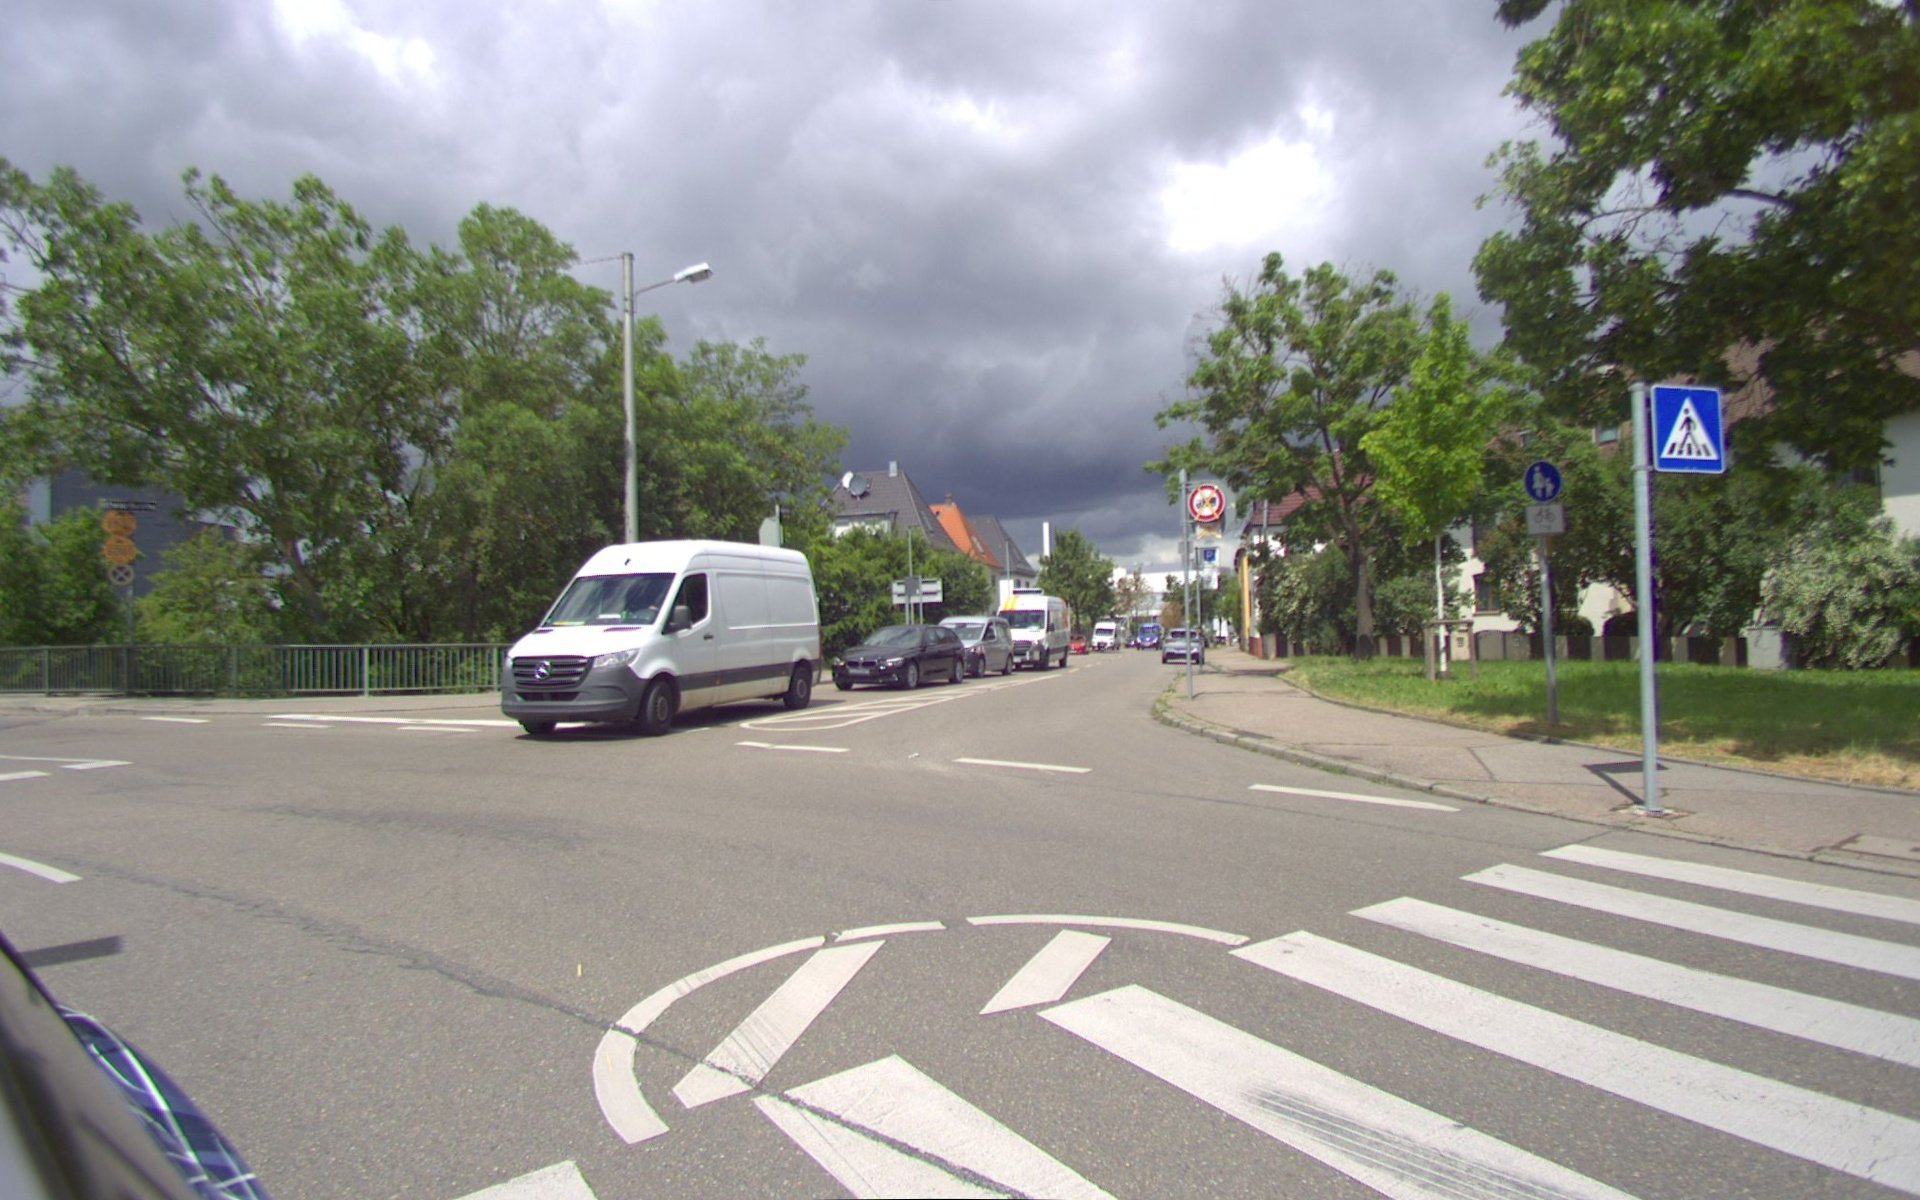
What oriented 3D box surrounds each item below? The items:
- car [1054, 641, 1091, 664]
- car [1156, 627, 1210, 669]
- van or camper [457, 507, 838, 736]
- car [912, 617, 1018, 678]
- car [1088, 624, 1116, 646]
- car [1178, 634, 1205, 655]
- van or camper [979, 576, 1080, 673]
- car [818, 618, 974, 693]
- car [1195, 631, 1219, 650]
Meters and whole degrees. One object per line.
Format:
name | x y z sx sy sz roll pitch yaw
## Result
car | 8.272 3.849 74.157 1.982 1.600 4.379 -2 -3 15
car | 10.529 2.218 47.549 2.212 1.821 4.380 -2 -2 15
van or camper | -4.036 0.359 14.572 2.177 2.586 5.890 -1 -2 19
car | 0.234 1.364 29.080 1.982 1.600 4.379 -2 -3 15
car | 13.092 3.238 93.023 1.982 1.943 4.379 -2 -3 15
car | 19.244 3.675 83.942 1.982 1.600 4.380 -2 -2 15
van or camper | 2.707 1.095 36.800 2.249 3.019 8.288 -2 -5 13
car | -1.311 1.225 22.699 1.985 1.485 4.201 -2 -3 20
car | 22.840 3.722 93.414 1.982 1.600 4.380 -2 -2 15
